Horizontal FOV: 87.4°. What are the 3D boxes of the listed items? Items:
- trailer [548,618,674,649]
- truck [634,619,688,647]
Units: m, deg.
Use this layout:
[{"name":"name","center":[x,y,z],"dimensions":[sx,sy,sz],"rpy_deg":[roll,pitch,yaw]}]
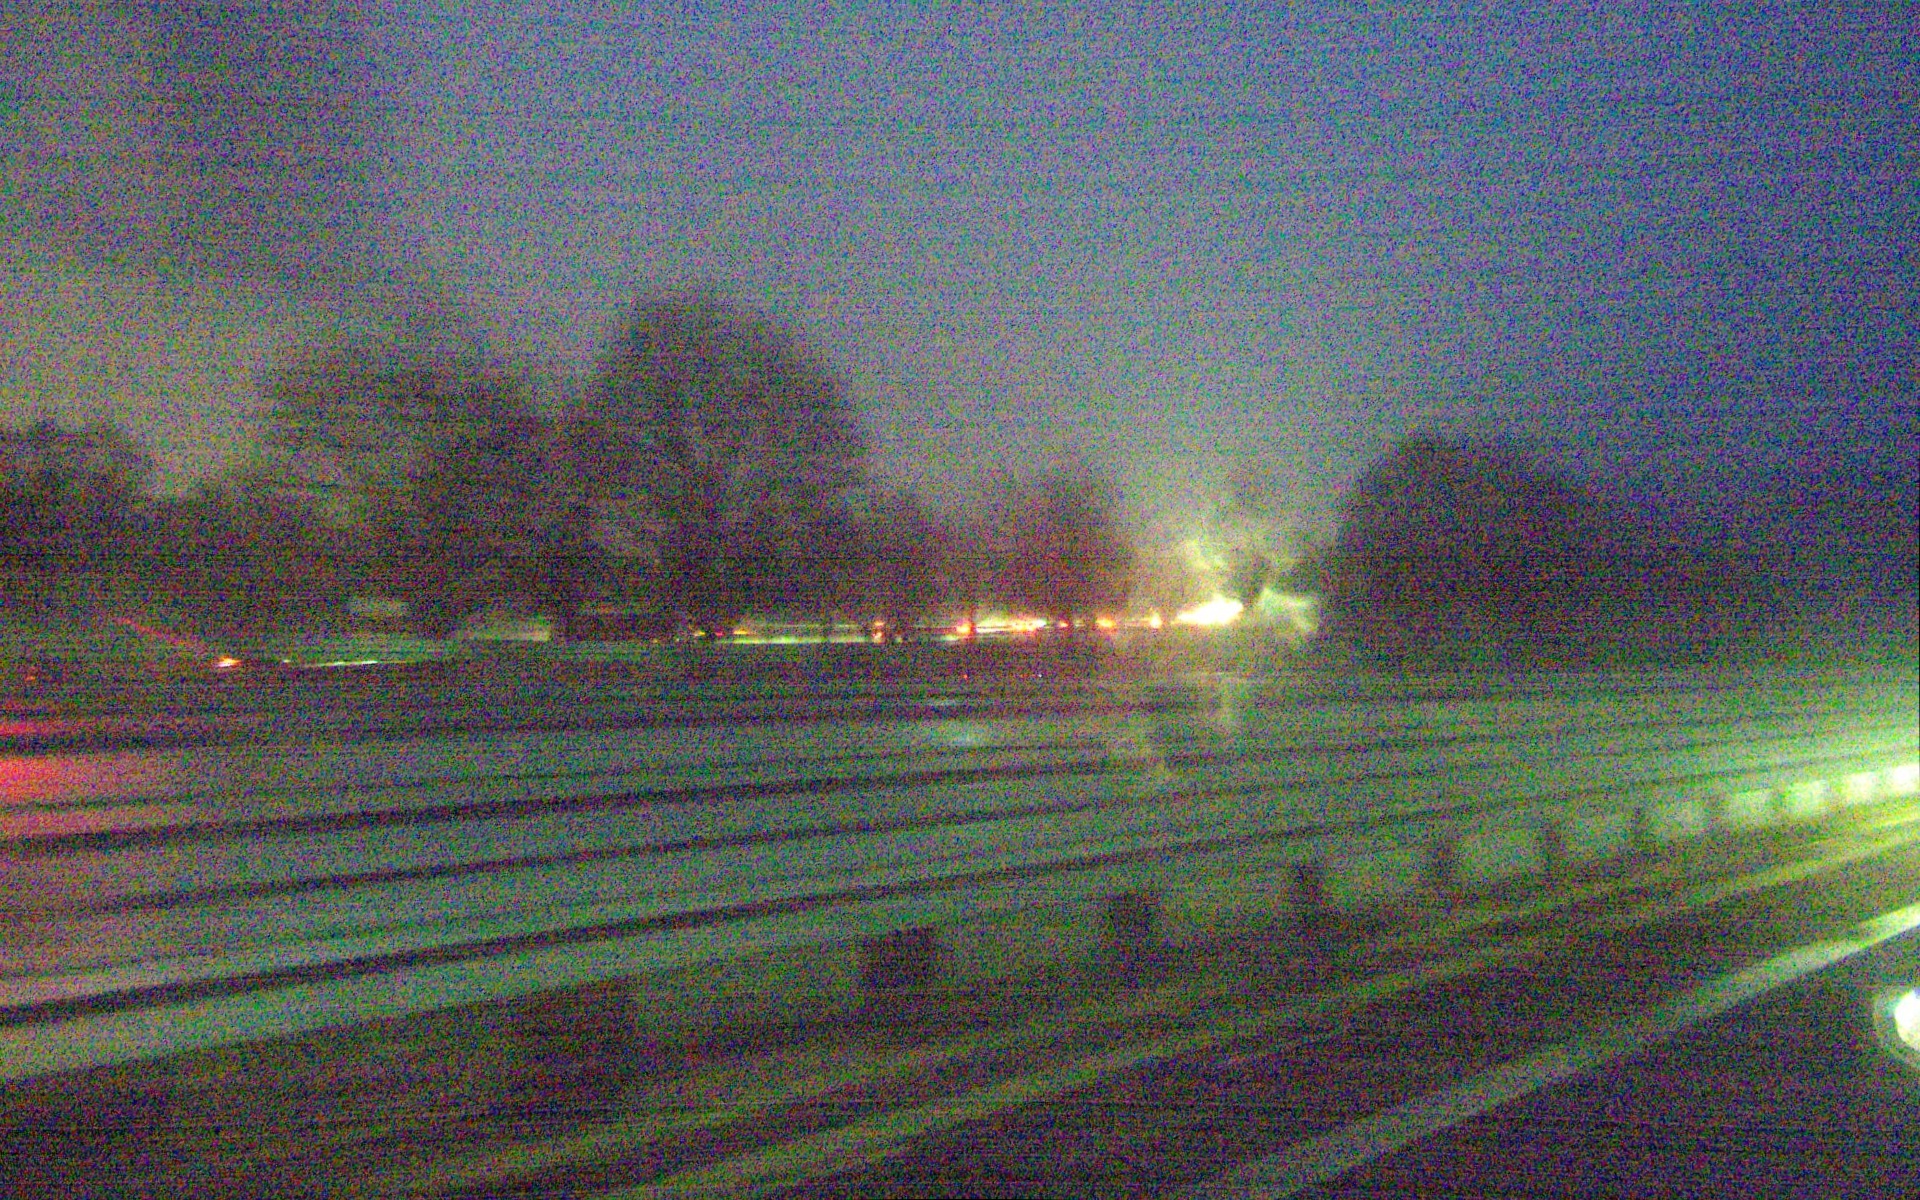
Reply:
[{"name":"trailer","center":[-34.160,3.248,99.103],"dimensions":[2.650,2.735,12.824],"rpy_deg":[2,0,33]},{"name":"truck","center":[-30.934,3.376,104.153],"dimensions":[2.639,2.726,4.745],"rpy_deg":[2,0,33]}]
